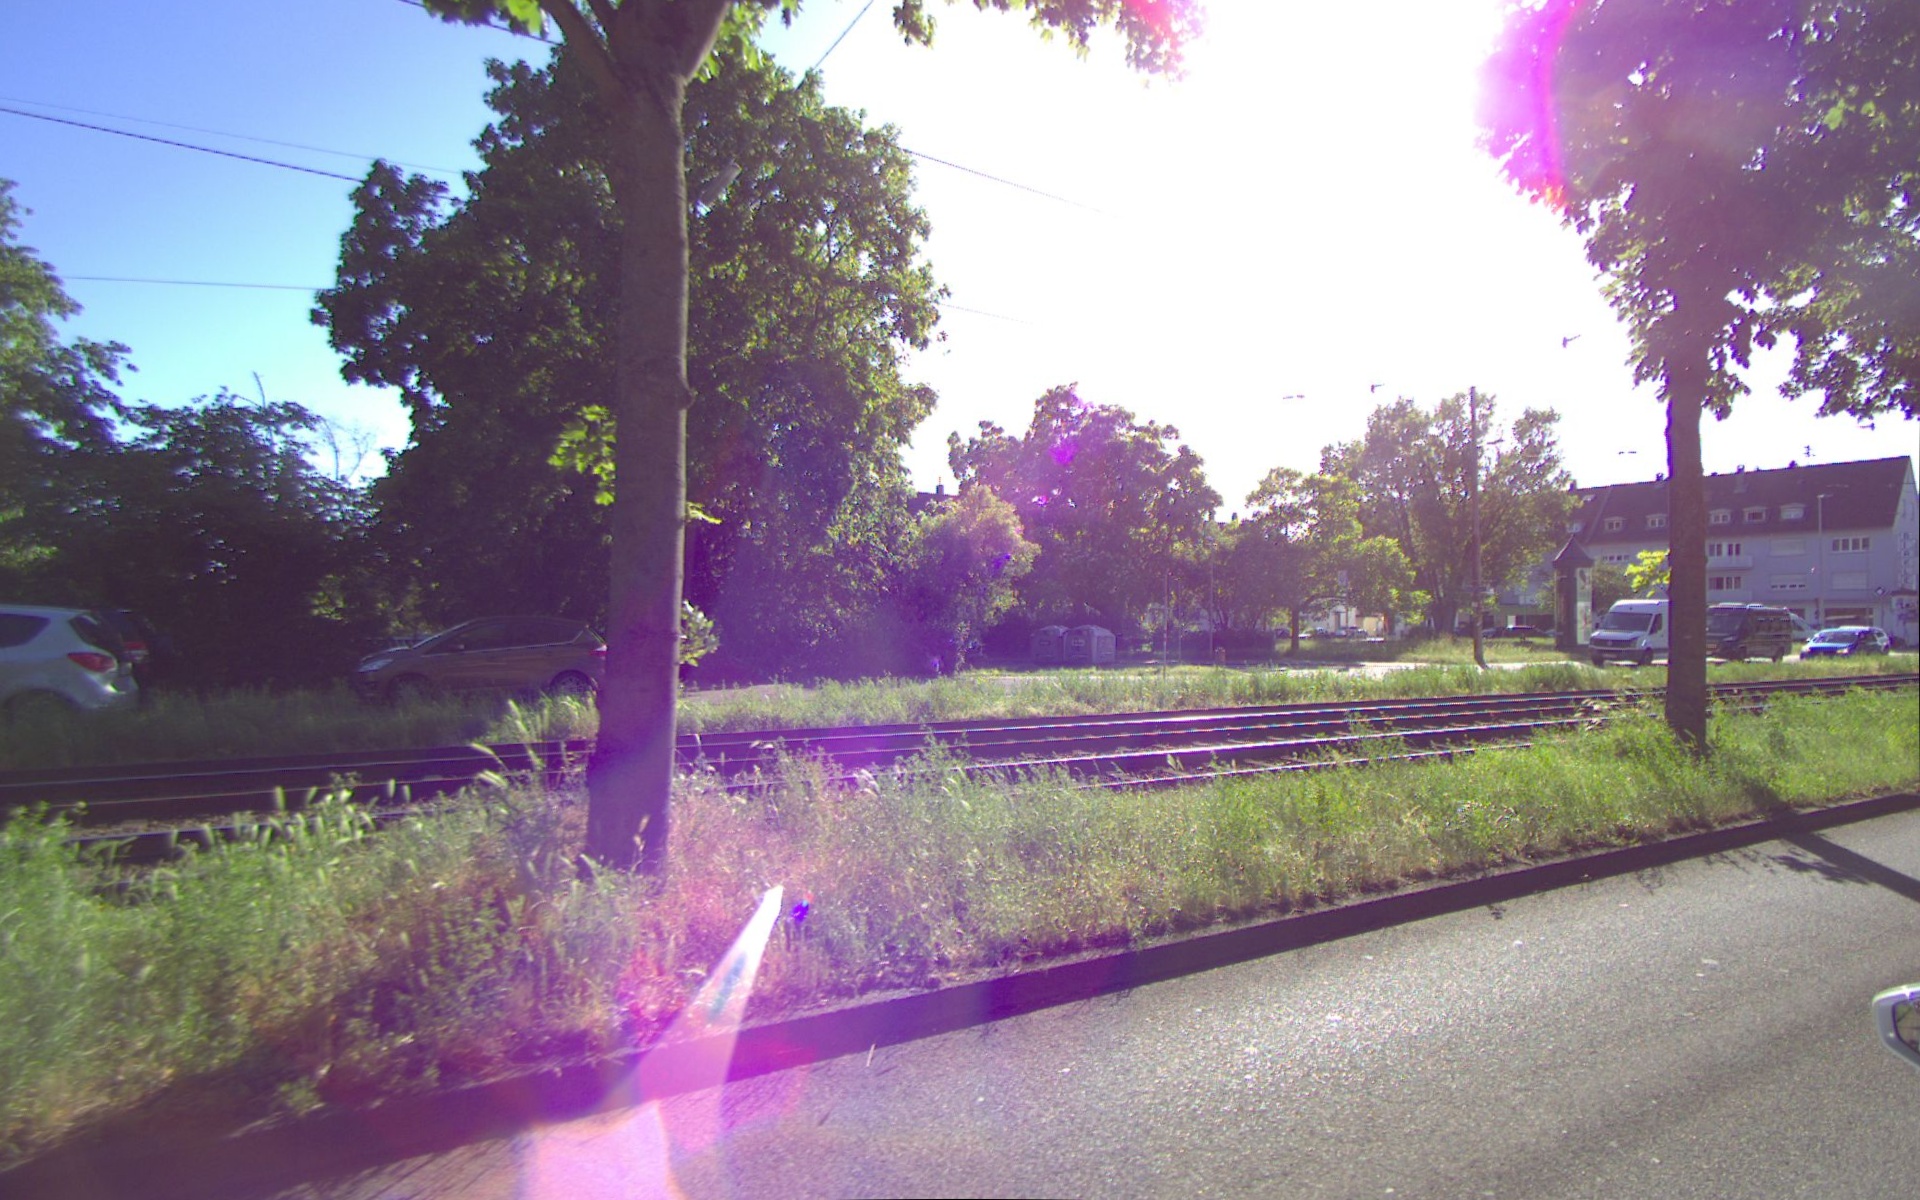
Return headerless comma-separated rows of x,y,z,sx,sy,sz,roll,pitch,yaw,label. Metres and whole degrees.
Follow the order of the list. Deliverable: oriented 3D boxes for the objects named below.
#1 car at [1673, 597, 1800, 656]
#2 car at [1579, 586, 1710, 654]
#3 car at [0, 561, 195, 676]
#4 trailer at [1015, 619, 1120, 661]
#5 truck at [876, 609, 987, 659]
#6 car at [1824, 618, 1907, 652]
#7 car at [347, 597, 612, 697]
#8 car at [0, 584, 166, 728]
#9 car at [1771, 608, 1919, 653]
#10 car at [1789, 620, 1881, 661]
34.453,1.200,44.521,6.390,2.408,2.171,2,1,-31,car
27.791,0.840,40.736,6.068,2.530,1.991,2,1,-32,car
-14.529,0.248,15.200,4.481,1.644,1.614,2,1,-31,car
4.155,1.551,38.978,3.704,1.524,1.745,-3,-3,40,trailer
-1.342,1.508,45.648,4.869,1.894,2.074,4,1,41,truck
47.283,1.837,52.429,4.718,1.628,1.814,2,1,-31,car
-8.781,0.852,18.549,4.196,1.606,1.667,2,1,-29,car
-11.950,0.588,11.365,4.390,1.548,1.718,2,1,-30,car
58.474,1.963,66.480,2.307,2.541,7.020,1,2,-34,car
33.505,1.548,38.446,3.777,1.413,1.549,2,1,-31,car
